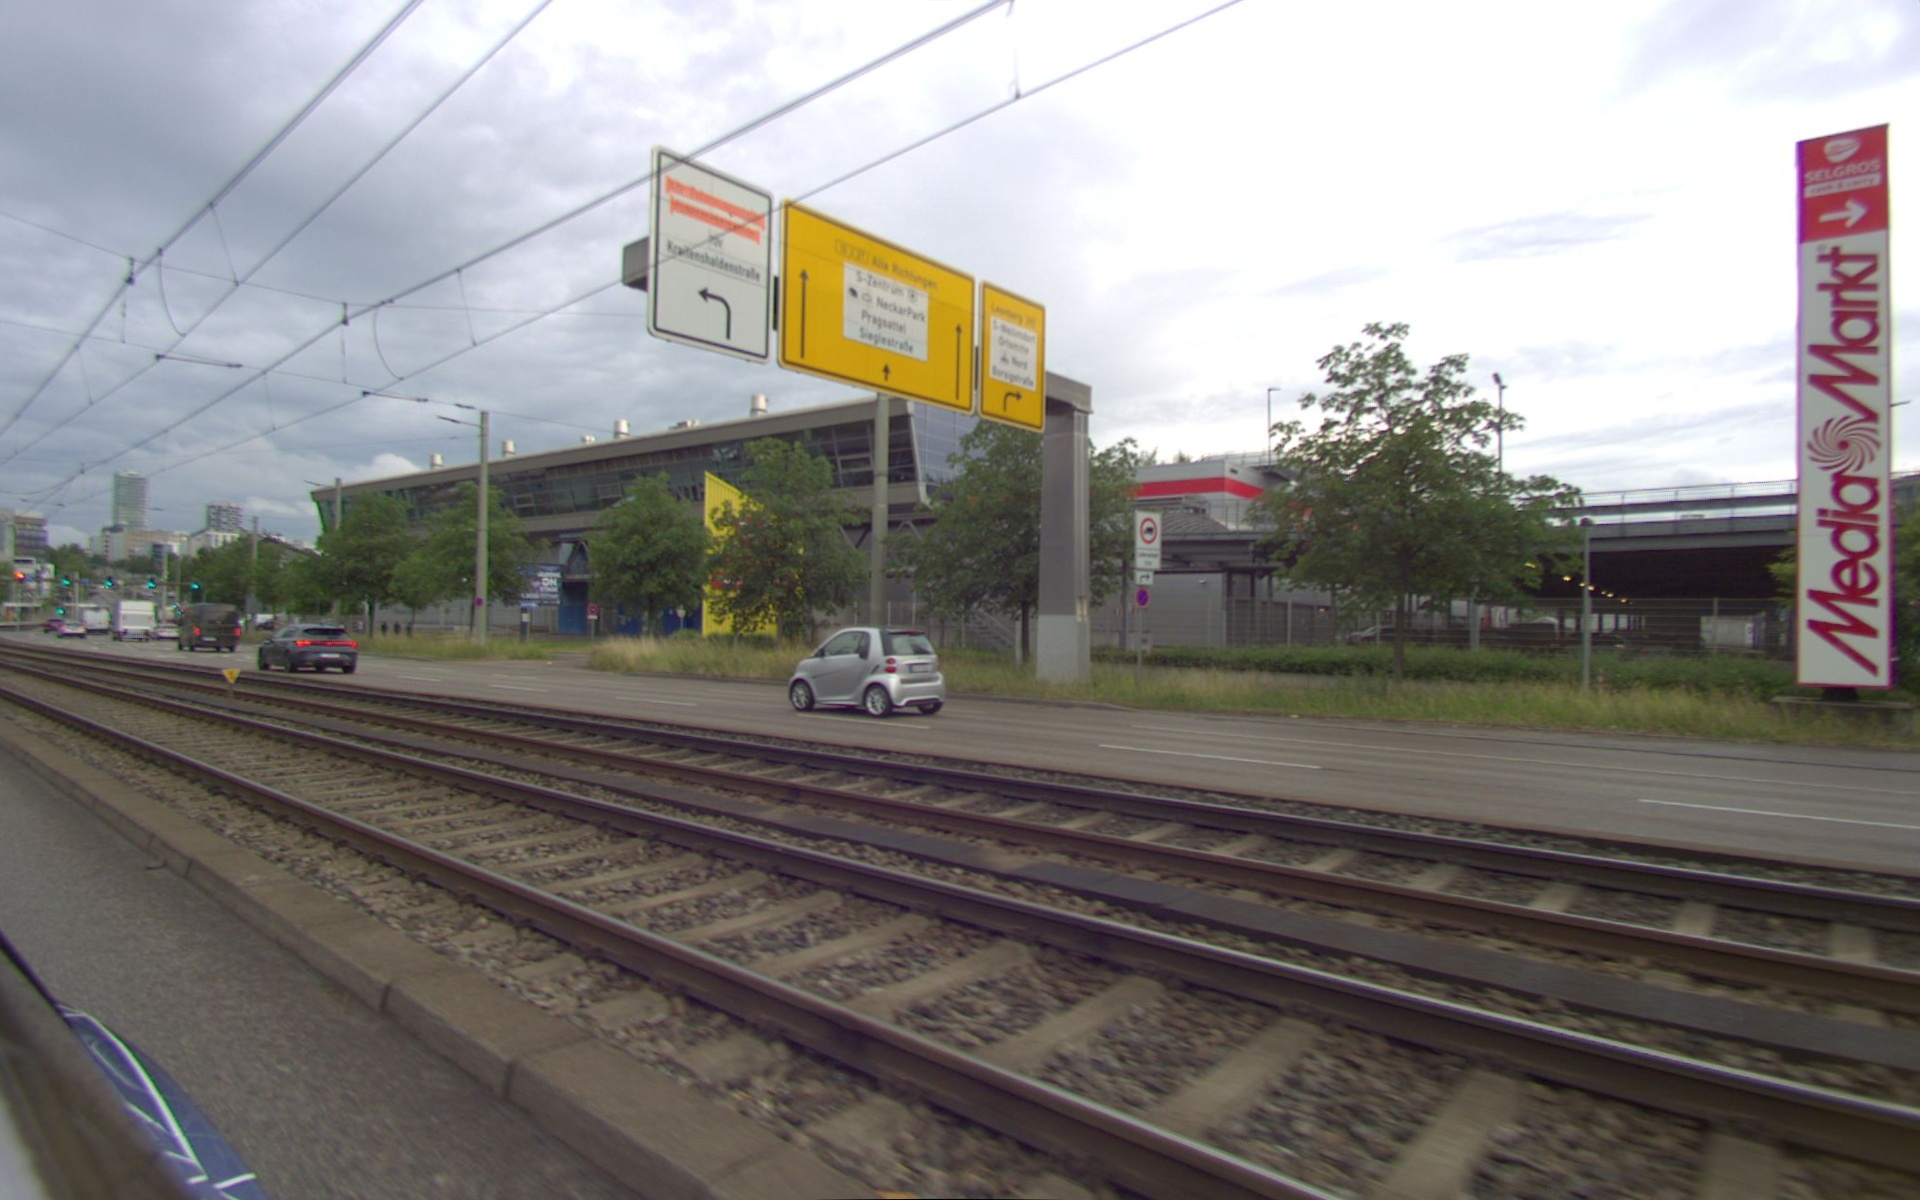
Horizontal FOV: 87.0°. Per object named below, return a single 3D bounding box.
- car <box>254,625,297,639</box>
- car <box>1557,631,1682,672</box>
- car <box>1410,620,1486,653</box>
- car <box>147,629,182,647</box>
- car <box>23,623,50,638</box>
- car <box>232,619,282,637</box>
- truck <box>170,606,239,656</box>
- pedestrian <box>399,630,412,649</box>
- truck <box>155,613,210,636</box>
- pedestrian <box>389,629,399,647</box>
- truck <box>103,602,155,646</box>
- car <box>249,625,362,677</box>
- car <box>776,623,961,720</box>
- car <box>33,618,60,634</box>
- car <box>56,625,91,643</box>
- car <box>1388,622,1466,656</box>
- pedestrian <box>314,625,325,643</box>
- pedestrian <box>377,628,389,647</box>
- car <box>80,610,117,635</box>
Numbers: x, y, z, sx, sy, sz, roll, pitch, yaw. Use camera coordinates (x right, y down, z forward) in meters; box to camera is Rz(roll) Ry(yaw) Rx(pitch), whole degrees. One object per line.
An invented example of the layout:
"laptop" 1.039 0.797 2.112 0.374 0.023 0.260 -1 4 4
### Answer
"car" -88.174 4.124 130.419 1.908 1.729 4.205 -1 -3 34
"car" 25.019 1.924 38.568 1.637 1.292 4.116 -1 0 -9
"car" 30.936 2.311 64.168 3.998 2.029 1.973 -1 -3 41
"car" -70.845 3.379 90.121 1.875 1.500 4.425 3 -3 -45
"car" -112.287 3.736 123.003 4.678 1.745 1.972 -2 -4 43
"car" -92.051 3.701 132.613 1.992 2.350 5.012 -1 -2 30
"truck" -41.707 1.691 55.802 2.212 2.584 7.021 2 -2 -43
"pedestrian" -42.424 3.005 77.410 0.744 1.450 0.602 -1 0 37
"truck" -131.166 4.144 170.912 4.022 3.785 10.886 1 -2 -19
"pedestrian" -45.036 3.020 80.516 0.651 1.467 0.447 -1 0 31
"truck" -68.345 1.996 83.180 2.695 3.383 7.159 4 -4 -43
"car" -19.839 1.521 30.618 4.234 1.440 1.783 -2 -4 42
"car" -1.653 1.228 18.003 2.945 1.548 1.583 0 -4 37
"car" -99.794 2.842 110.505 4.362 1.669 1.887 -2 -5 45
"car" -78.069 2.996 89.084 4.441 1.510 1.786 -2 -5 43
"car" 28.862 2.371 62.548 3.998 2.029 1.973 -1 -3 41
"pedestrian" -56.688 3.021 89.541 0.627 1.575 0.675 -1 0 42
"pedestrian" -45.656 2.933 80.079 0.651 1.467 0.507 -1 0 31
"car" -90.550 2.382 106.354 2.404 2.519 6.552 4 -4 -44
